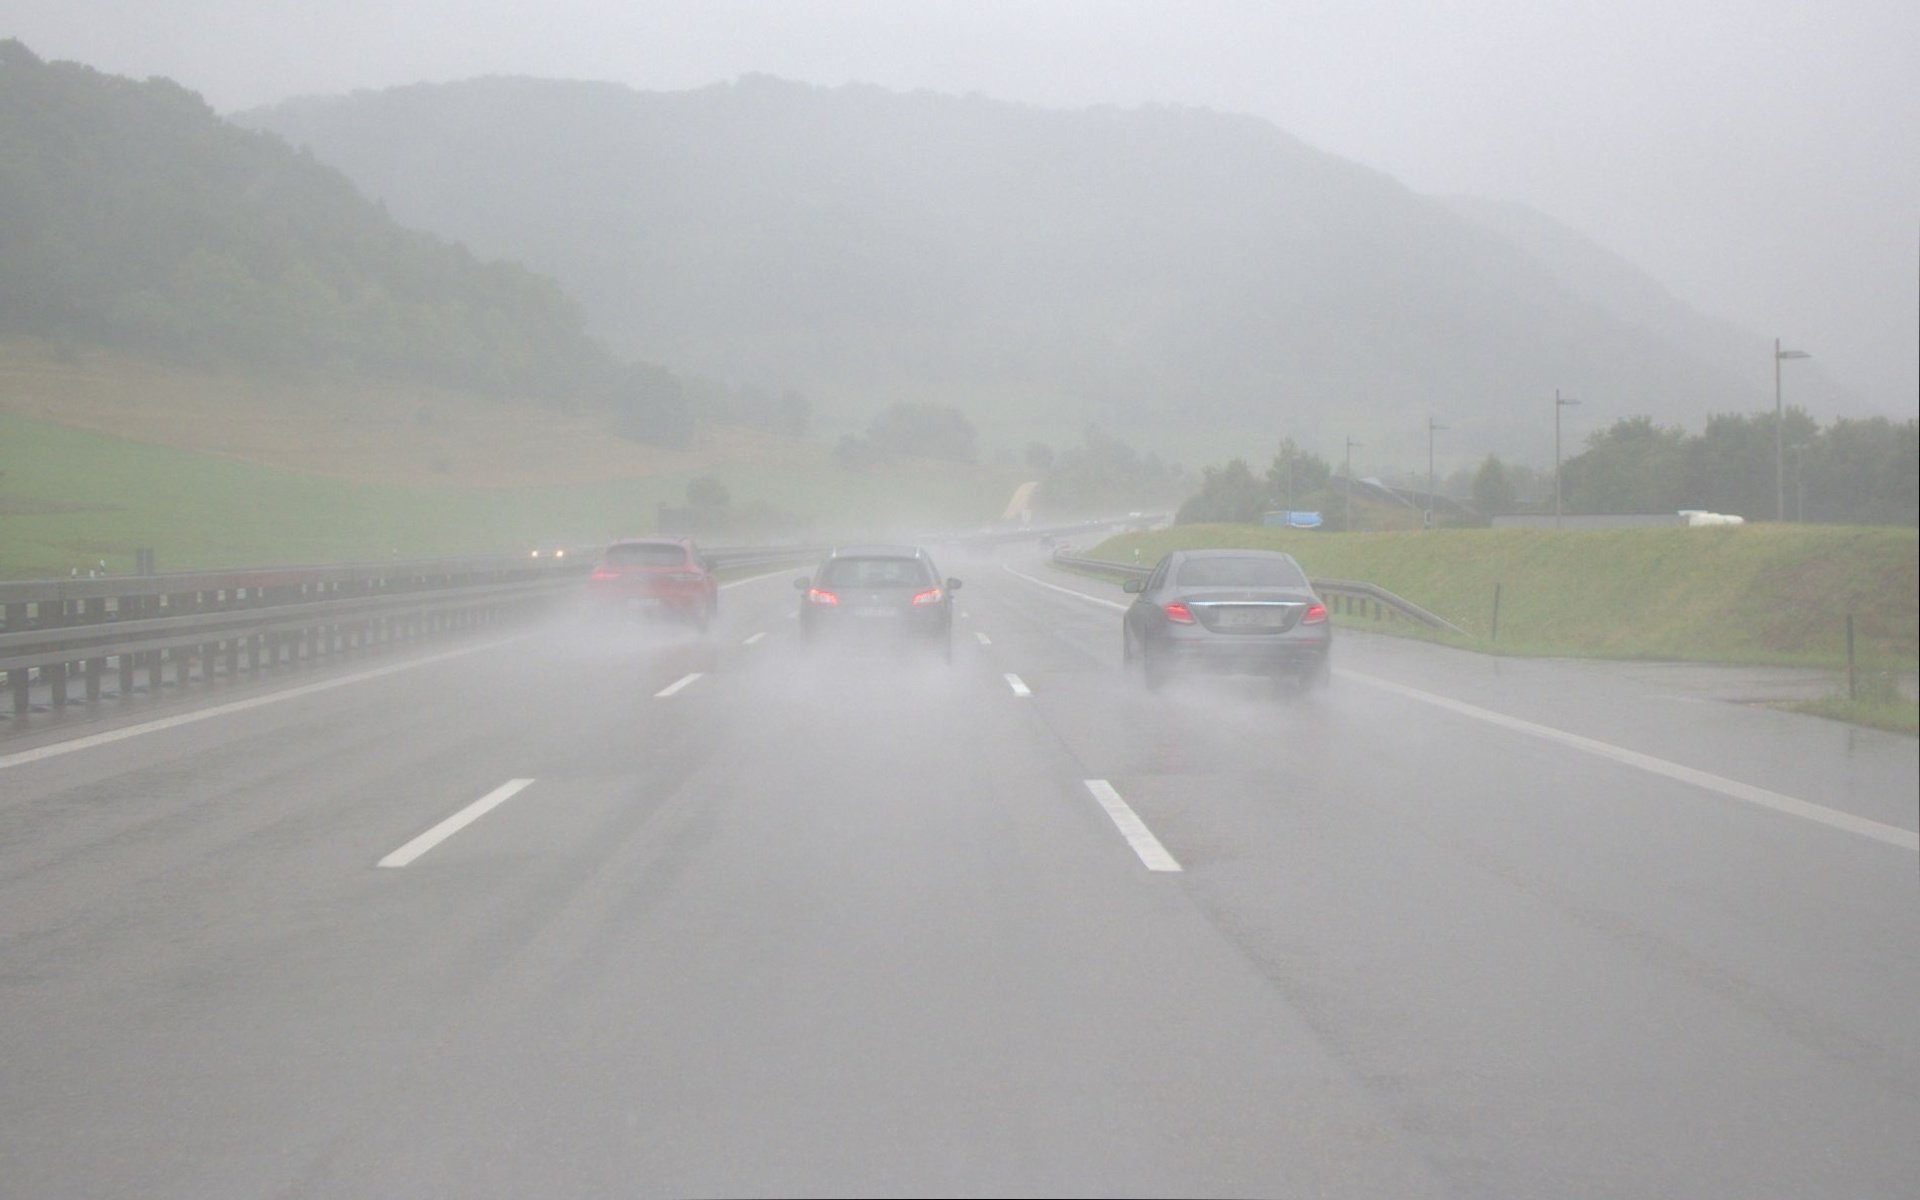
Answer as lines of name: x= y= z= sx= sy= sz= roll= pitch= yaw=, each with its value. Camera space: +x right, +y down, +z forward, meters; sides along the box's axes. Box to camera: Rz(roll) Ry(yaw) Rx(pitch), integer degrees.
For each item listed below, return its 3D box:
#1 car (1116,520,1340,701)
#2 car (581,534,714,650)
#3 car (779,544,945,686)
car: x=2.697 y=0.061 z=35.386 sx=1.971 sy=1.754 sz=4.000 roll=0 pitch=1 yaw=0
car: x=-5.071 y=-0.161 z=56.173 sx=1.884 sy=1.809 sz=4.000 roll=0 pitch=1 yaw=-1
car: x=-1.126 y=0.143 z=41.072 sx=1.859 sy=1.584 sz=4.000 roll=1 pitch=1 yaw=0
